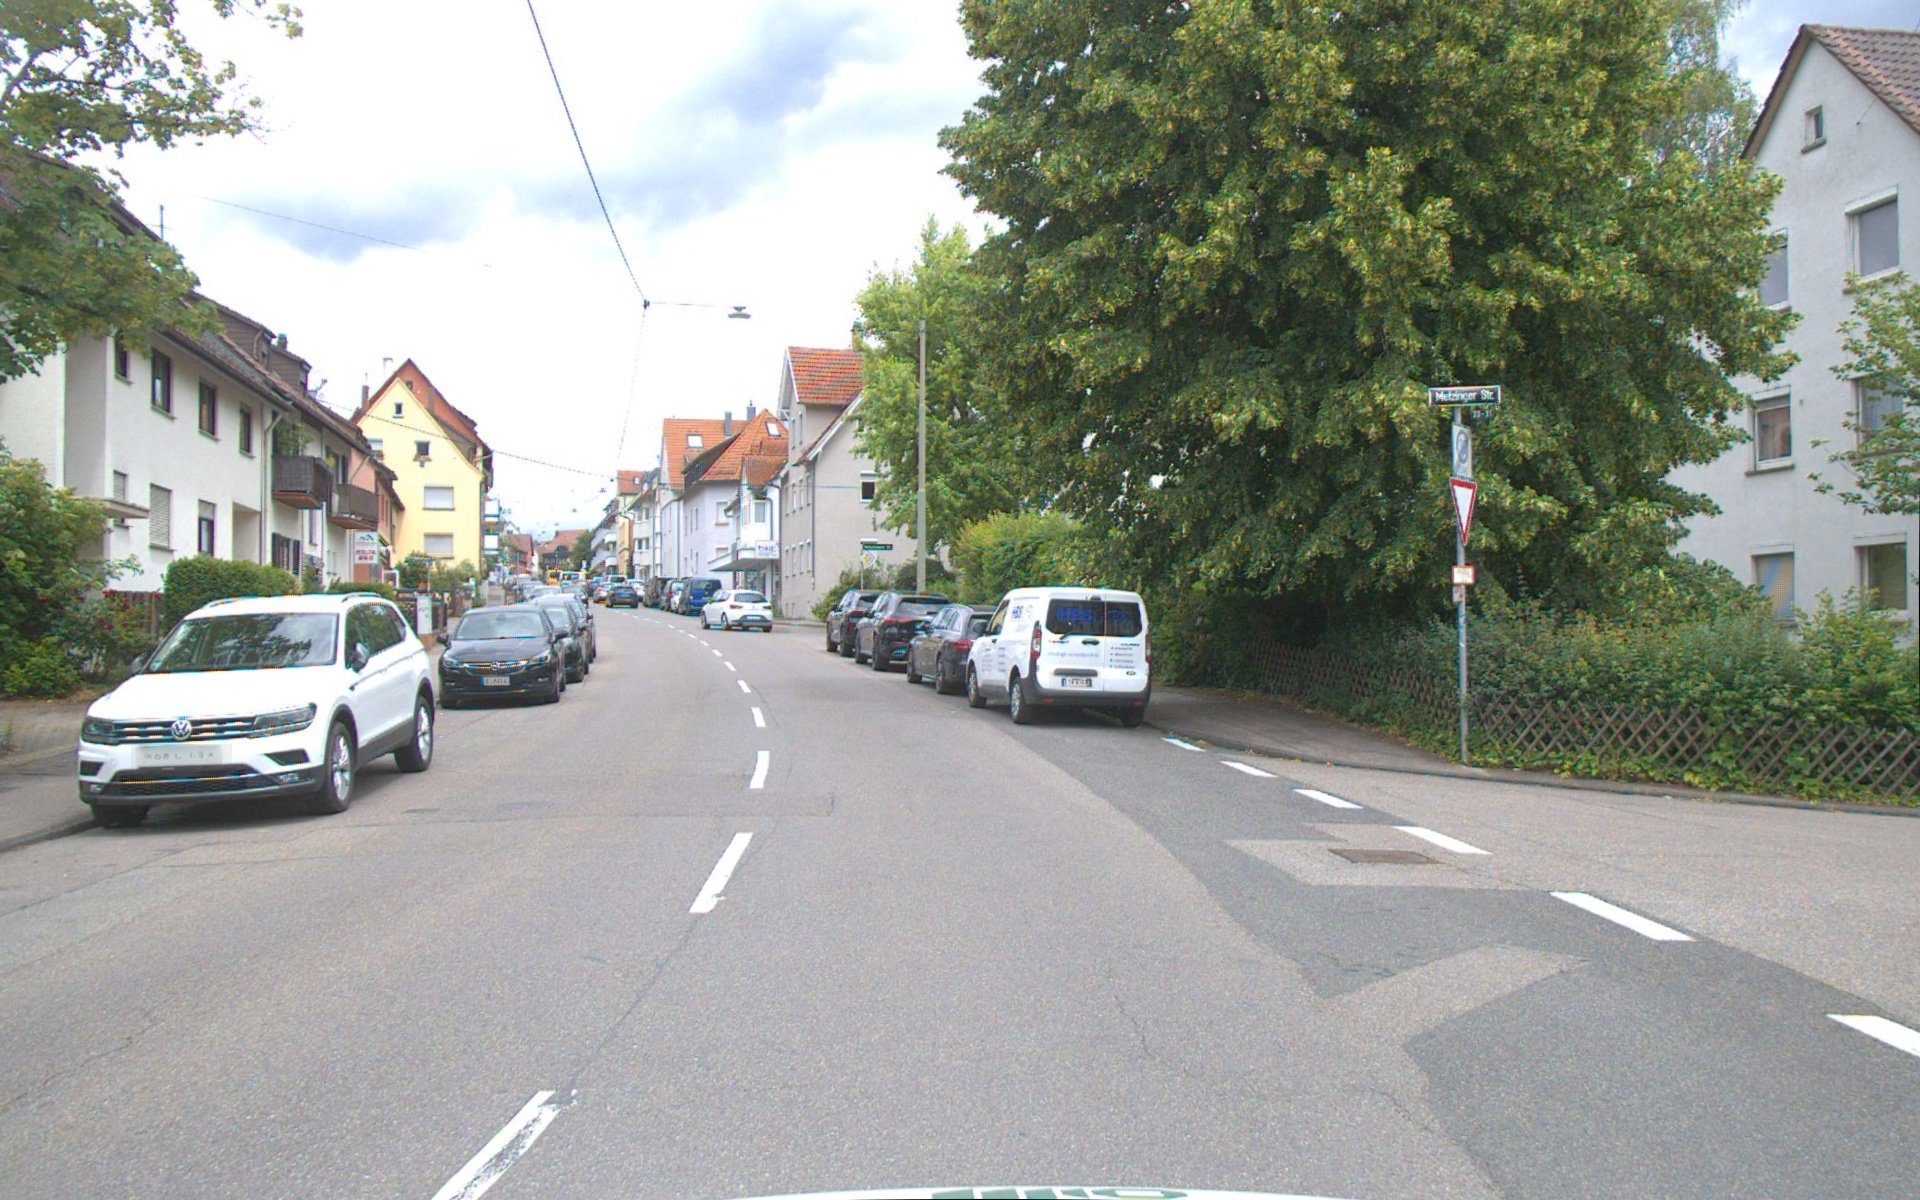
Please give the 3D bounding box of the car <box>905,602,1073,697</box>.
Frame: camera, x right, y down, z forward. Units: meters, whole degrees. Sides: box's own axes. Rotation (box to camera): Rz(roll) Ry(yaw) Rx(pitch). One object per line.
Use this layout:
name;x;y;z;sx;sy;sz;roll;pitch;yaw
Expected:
car;0.400;0.790;28.677;1.958;1.504;4.606;0;0;-12

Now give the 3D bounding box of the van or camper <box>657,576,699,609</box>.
van or camper;-16.899;-0.470;98.961;1.841;1.860;4.659;2;0;-17

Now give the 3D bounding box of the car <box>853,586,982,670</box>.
car;-0.995;0.566;35.289;1.958;1.643;4.526;2;0;-12

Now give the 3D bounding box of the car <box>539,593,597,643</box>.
car;-12.852;0.554;54.206;1.697;1.483;3.885;-4;1;-14

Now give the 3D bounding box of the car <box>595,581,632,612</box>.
car;-24.369;-0.256;116.215;2.118;2.049;3.981;2;0;-17

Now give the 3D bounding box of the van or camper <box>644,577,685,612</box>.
van or camper;-19.072;-0.366;106.611;1.961;2.101;5.919;3;0;-16

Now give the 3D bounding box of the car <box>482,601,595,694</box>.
car;-7.785;0.827;30.830;1.731;1.463;4.067;-4;1;-11

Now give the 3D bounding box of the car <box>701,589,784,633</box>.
car;-7.840;0.381;59.368;1.915;1.464;3.970;1;0;-24

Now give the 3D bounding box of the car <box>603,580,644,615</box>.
car;-20.870;-0.175;102.534;2.118;2.049;3.981;2;0;-17

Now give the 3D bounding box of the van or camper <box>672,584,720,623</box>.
van or camper;-14.019;0.151;87.648;1.896;1.959;4.809;1;0;-17

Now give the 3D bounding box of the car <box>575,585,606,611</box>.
car;-29.467;-0.174;131.845;2.118;2.049;3.981;2;0;-17

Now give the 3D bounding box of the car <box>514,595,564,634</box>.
car;-19.467;0.650;76.618;1.800;1.605;4.023;-3;1;-9

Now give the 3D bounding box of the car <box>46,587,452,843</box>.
car;-5.715;0.806;13.977;1.814;1.744;4.569;-2;0;-6

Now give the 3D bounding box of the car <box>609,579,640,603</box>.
car;-25.863;-0.706;127.438;1.910;1.722;3.981;3;0;-17

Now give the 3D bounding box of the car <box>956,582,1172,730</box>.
car;1.335;0.707;23.168;1.806;1.805;4.303;2;0;-13

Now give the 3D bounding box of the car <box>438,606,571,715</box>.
car;-7.075;0.883;26.003;1.731;1.463;4.066;-2;1;-12

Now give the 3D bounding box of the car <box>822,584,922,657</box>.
car;-2.220;0.488;40.780;1.779;1.643;4.526;2;0;-12

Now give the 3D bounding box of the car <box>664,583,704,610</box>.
car;-15.719;-0.201;94.062;1.687;1.461;4.618;2;0;-16
